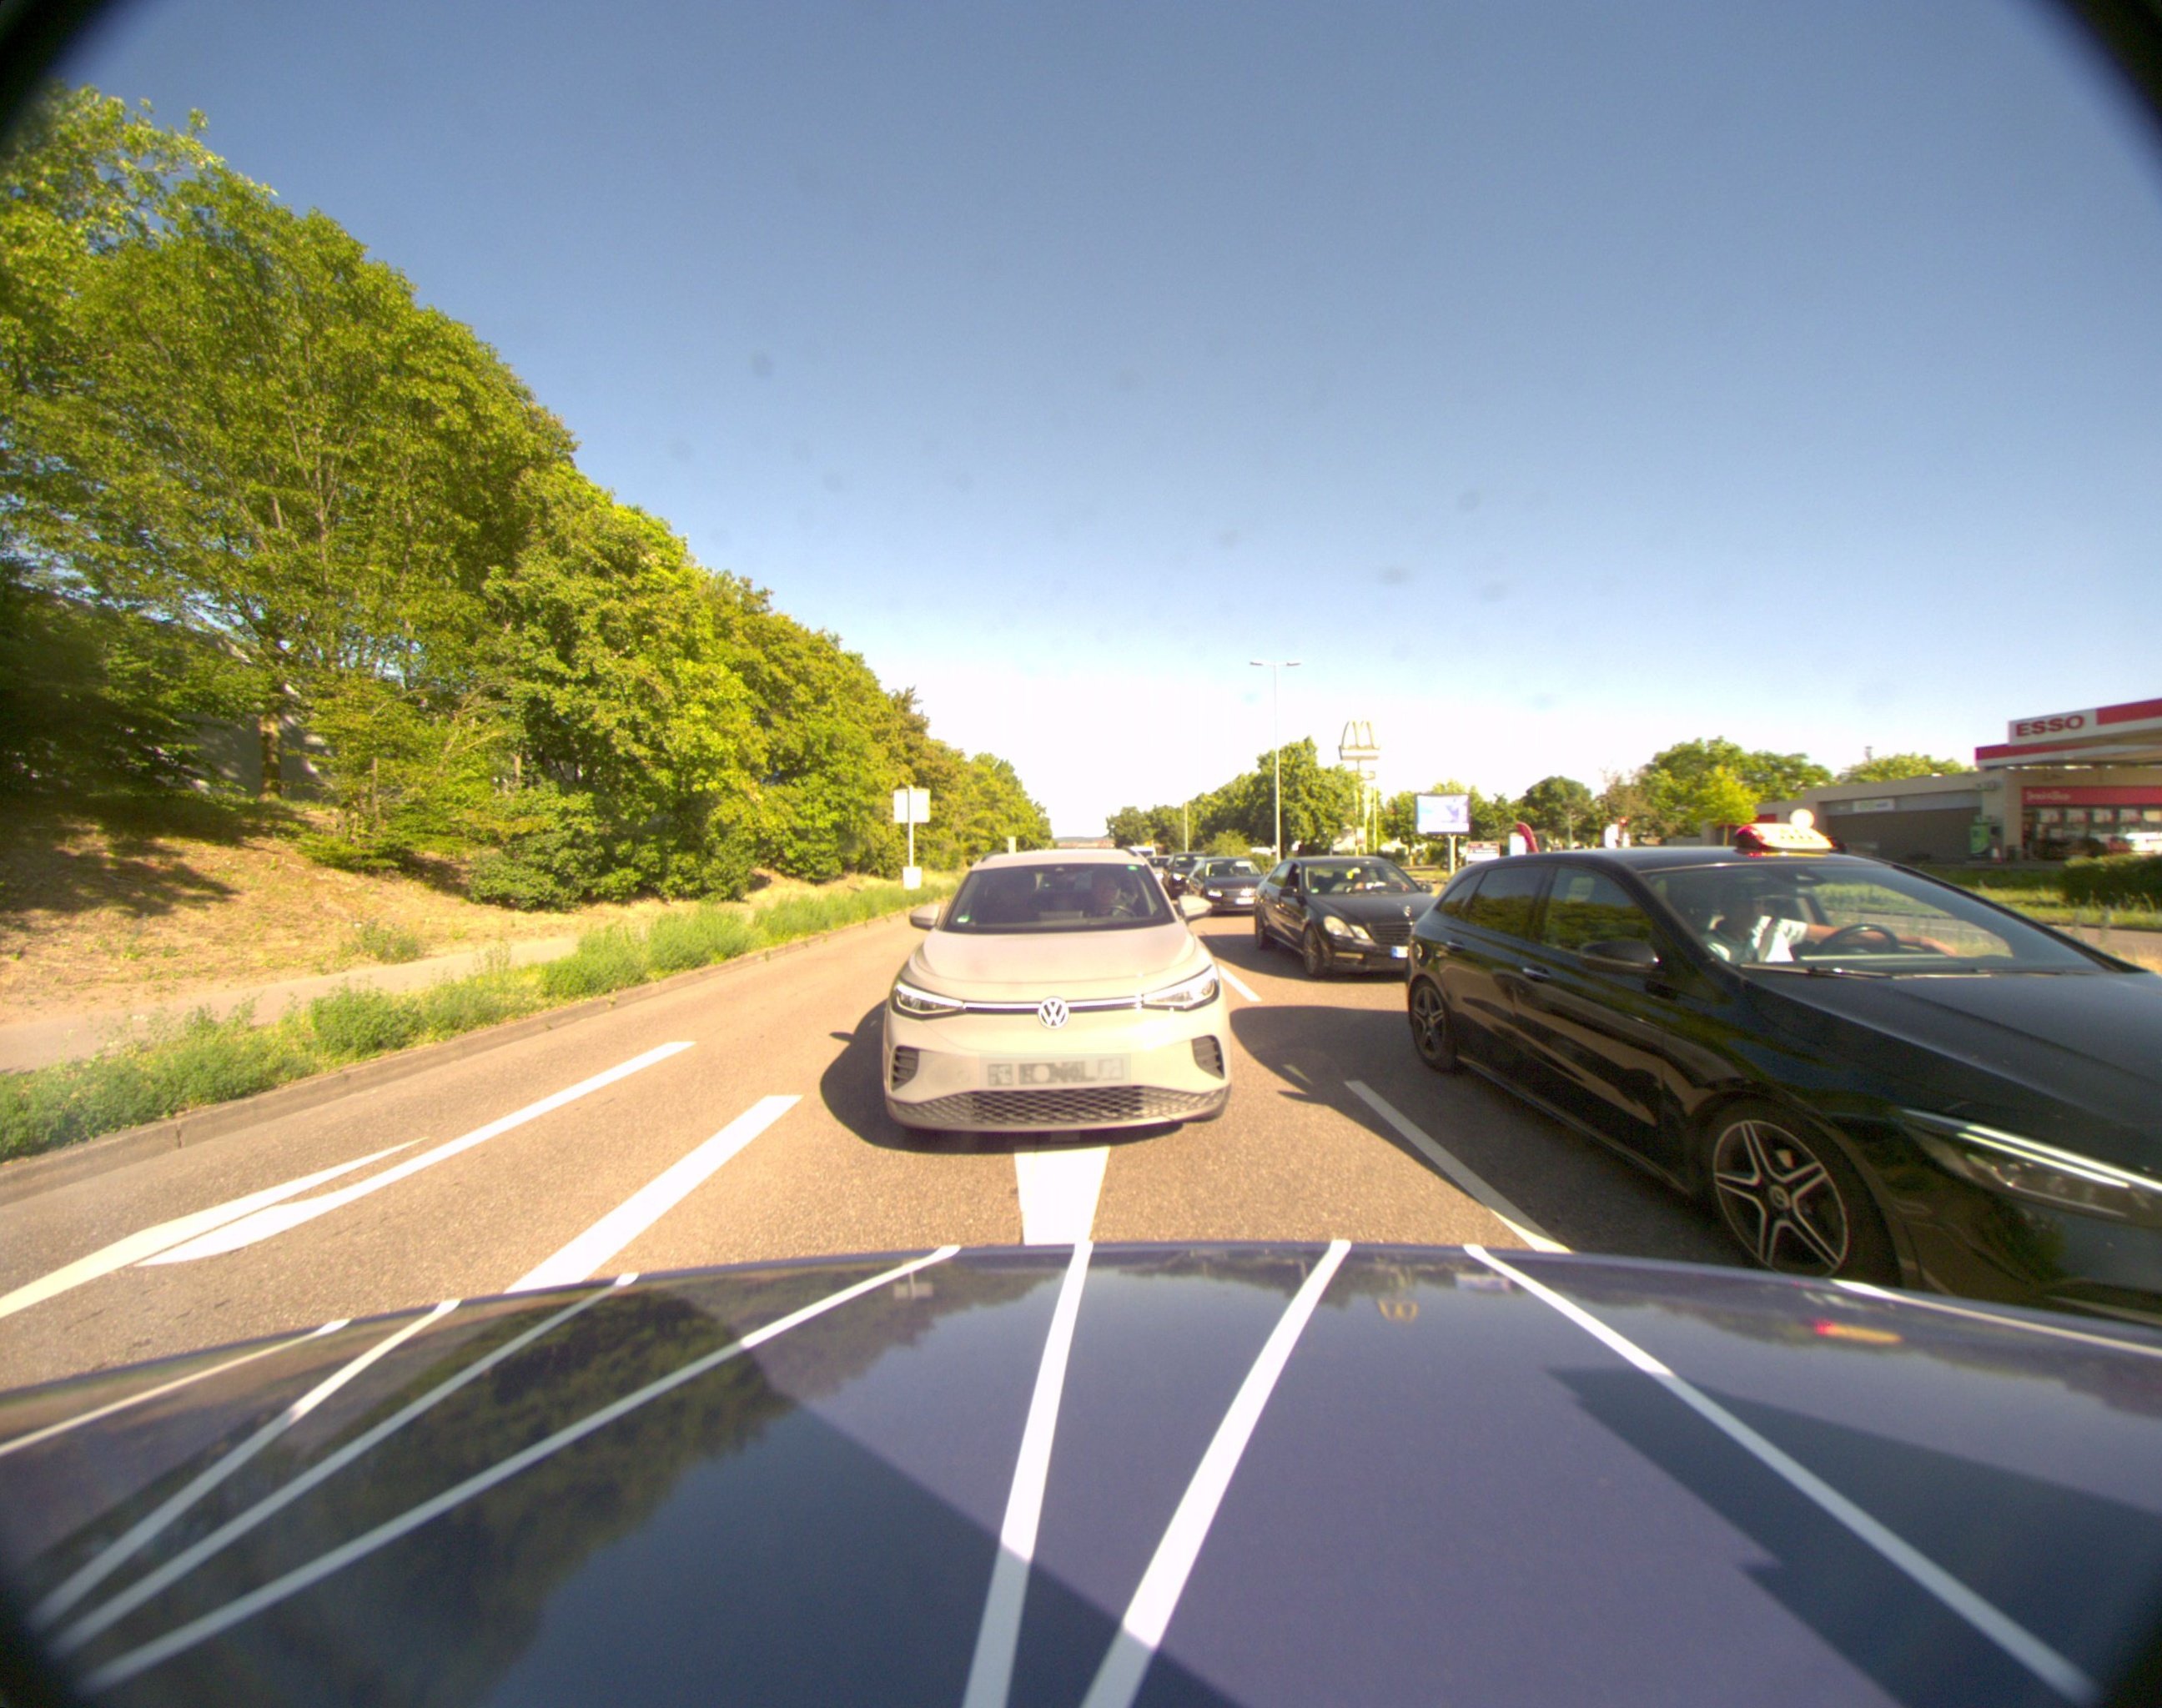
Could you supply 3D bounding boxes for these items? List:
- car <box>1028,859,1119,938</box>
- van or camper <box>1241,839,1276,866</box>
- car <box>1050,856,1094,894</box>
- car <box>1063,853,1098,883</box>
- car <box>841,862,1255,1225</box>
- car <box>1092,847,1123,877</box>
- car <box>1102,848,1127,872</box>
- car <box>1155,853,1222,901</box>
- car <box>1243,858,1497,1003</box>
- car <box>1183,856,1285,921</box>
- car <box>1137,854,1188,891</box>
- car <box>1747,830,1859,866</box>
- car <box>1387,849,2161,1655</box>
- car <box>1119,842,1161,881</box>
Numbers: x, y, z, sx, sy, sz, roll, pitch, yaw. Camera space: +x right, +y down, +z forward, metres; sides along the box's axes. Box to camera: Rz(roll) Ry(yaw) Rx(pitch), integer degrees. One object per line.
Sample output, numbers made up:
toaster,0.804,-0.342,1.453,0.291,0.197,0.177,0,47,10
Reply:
car,-0.118,0.899,16.955,1.765,1.503,3.760,-2,0,1
van or camper,17.813,-0.169,76.510,2.183,2.557,6.755,-1,0,3
car,-0.352,0.887,33.198,1.765,1.503,3.760,-2,0,1
car,-0.007,0.713,40.815,1.765,1.503,3.760,-1,0,1
car,-0.126,0.899,5.475,1.871,1.588,3.932,-2,0,1
car,2.053,0.611,59.894,2.289,2.274,5.381,-1,0,1
car,3.356,0.600,77.385,2.289,2.274,5.381,-1,0,1
car,3.827,0.776,27.740,1.862,1.578,4.403,-1,0,1
car,3.627,0.850,10.493,1.862,1.515,4.403,-1,0,1
car,3.938,0.828,20.247,1.862,1.472,4.403,-1,0,1
car,3.667,0.800,34.820,1.862,1.578,4.403,-1,0,1
car,37.696,-0.294,39.823,1.998,1.759,4.118,-2,0,2
car,3.147,0.809,3.580,1.804,1.616,4.188,-1,0,2
car,3.673,0.465,48.410,2.289,2.274,5.381,-1,0,1
